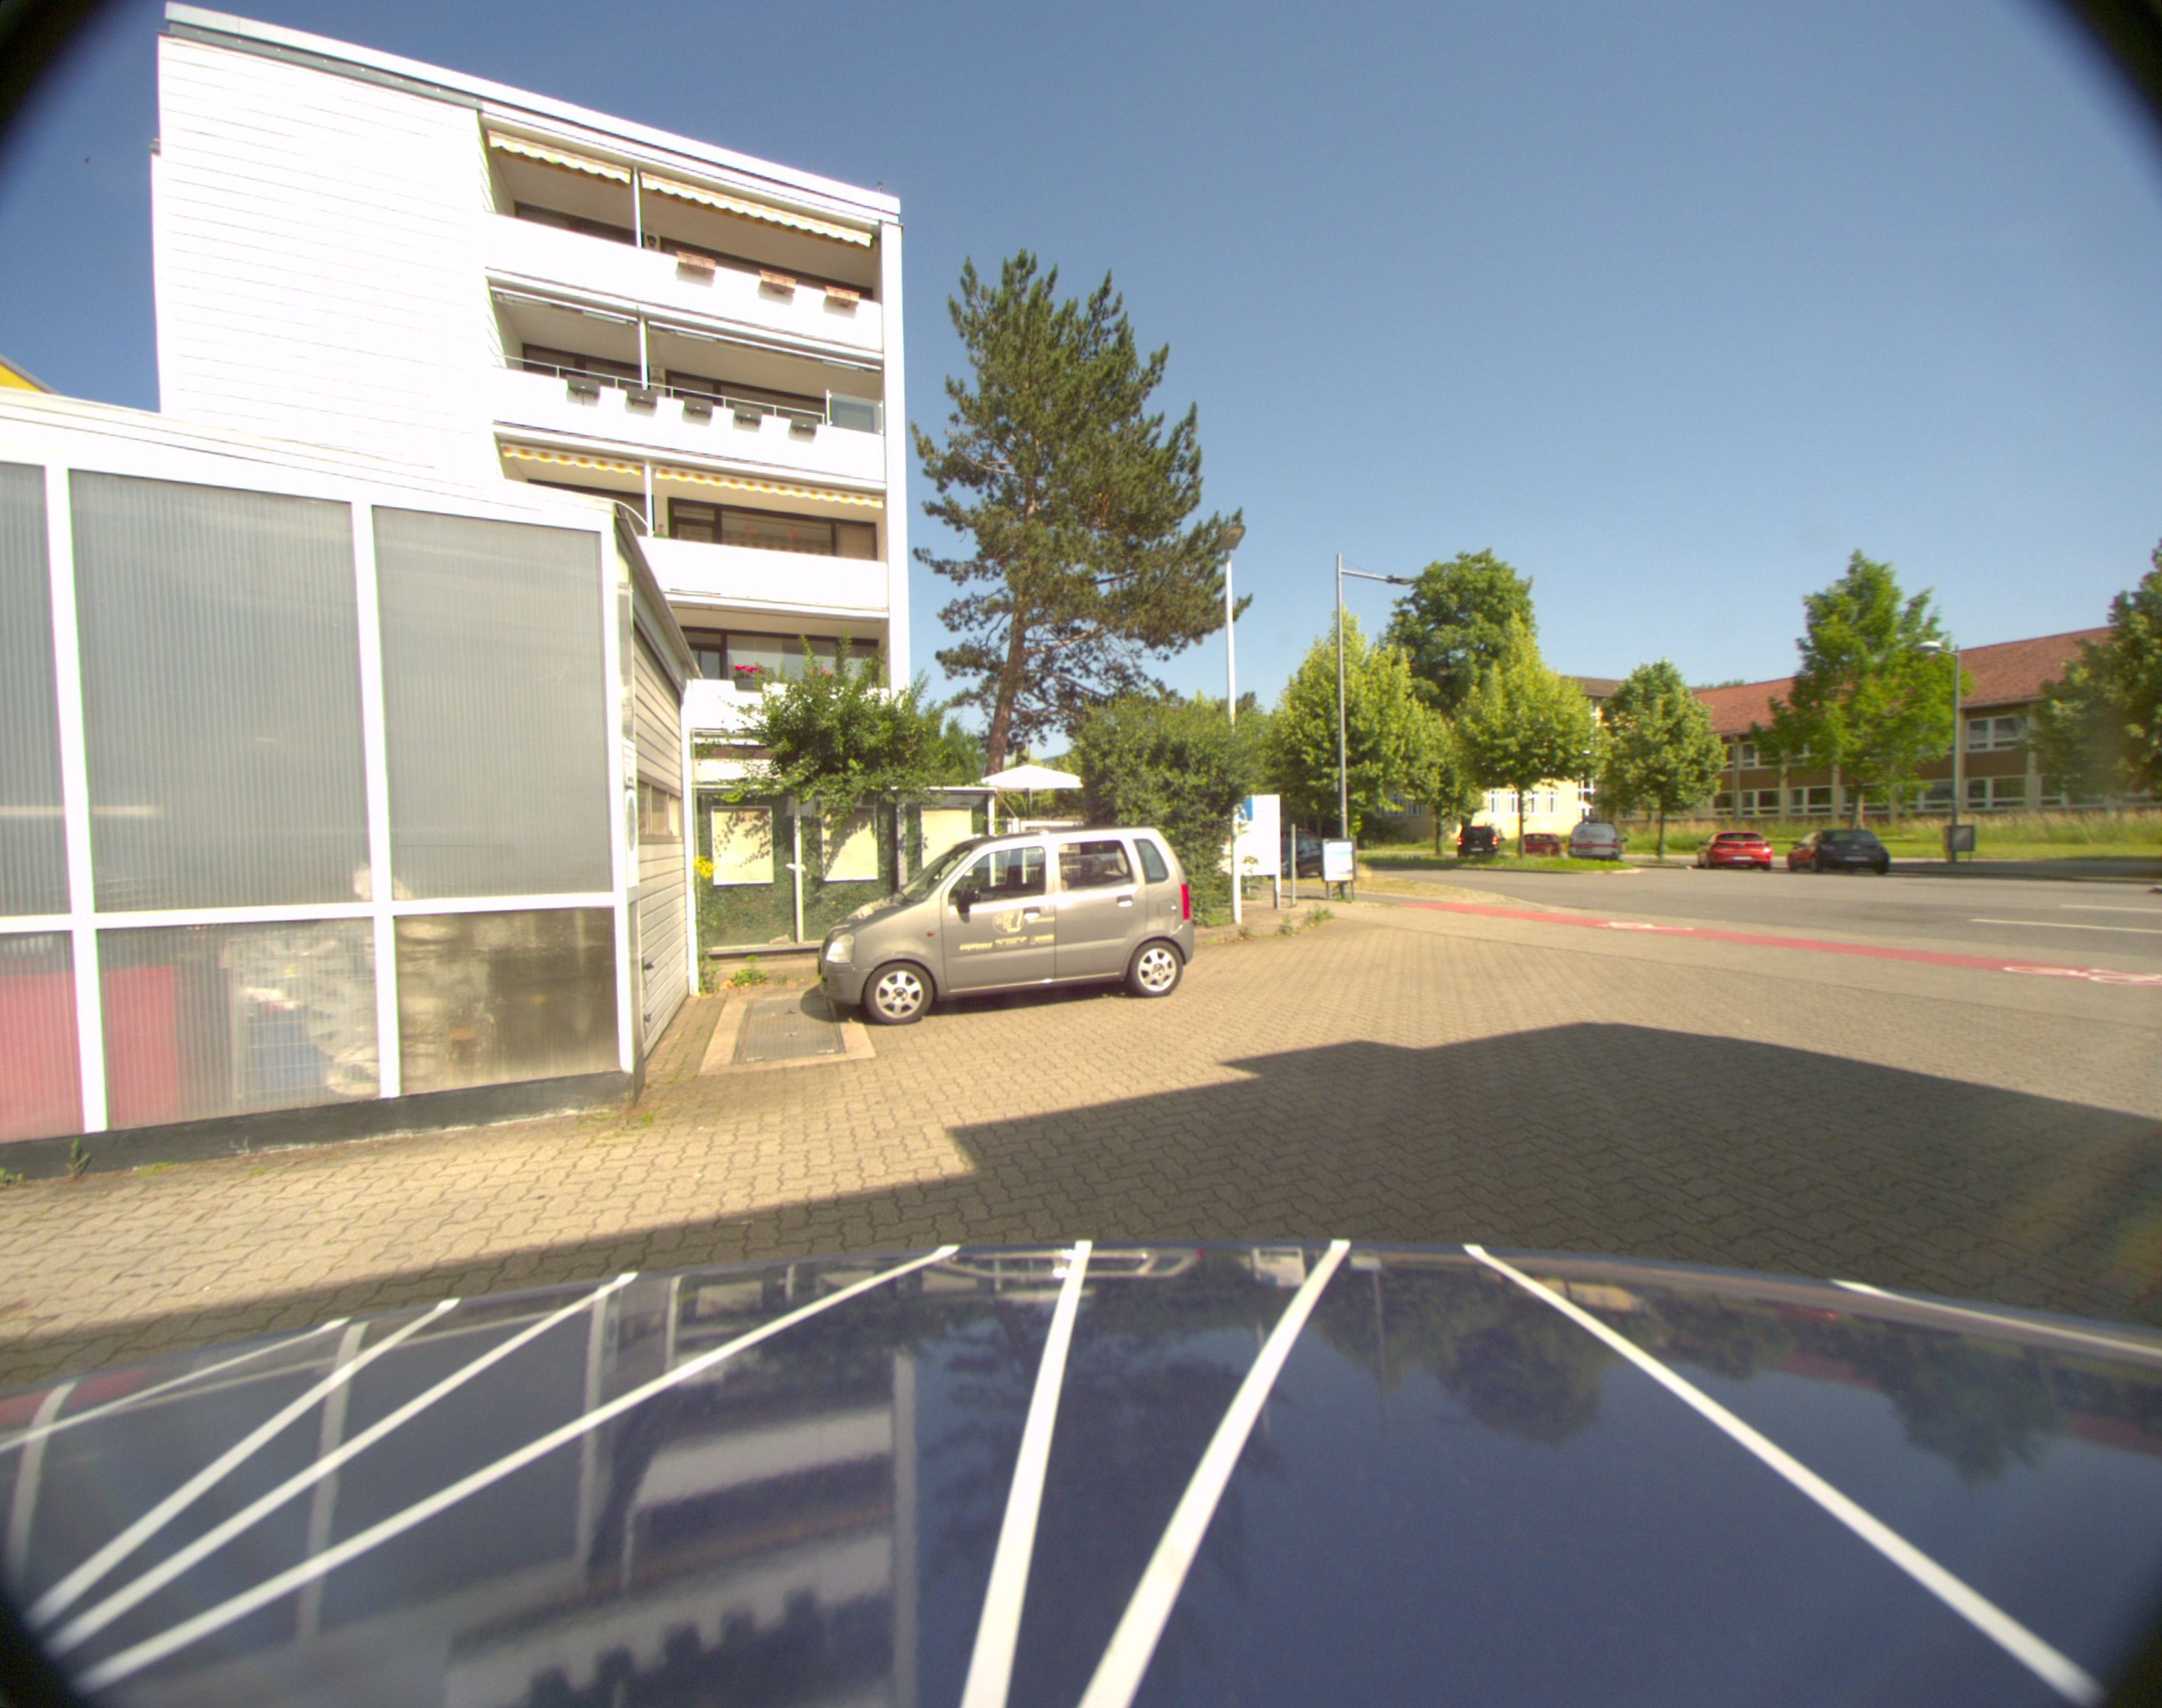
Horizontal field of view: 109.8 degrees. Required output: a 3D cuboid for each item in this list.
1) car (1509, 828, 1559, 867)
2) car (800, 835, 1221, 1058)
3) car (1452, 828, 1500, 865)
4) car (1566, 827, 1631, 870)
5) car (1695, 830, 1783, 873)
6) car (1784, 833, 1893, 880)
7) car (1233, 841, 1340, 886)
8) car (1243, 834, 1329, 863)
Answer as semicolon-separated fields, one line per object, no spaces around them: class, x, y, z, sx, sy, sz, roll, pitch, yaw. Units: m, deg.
car;21.177;-0.329;35.619;1.876;1.713;4.234;2;2;30
car;-0.709;0.700;7.353;3.665;1.608;1.689;-3;2;-20
car;19.641;-0.400;37.717;1.876;1.713;4.234;2;2;30
car;22.443;-0.251;32.892;1.875;1.713;4.235;2;2;40
car;24.294;-0.111;28.212;1.876;1.451;4.234;2;2;33
car;25.291;0.042;25.531;1.736;1.451;4.234;1;1;33
car;7.247;0.290;26.606;1.876;1.409;4.235;2;1;42
car;12.191;-0.365;45.668;2.002;1.602;5.647;1;1;-22
